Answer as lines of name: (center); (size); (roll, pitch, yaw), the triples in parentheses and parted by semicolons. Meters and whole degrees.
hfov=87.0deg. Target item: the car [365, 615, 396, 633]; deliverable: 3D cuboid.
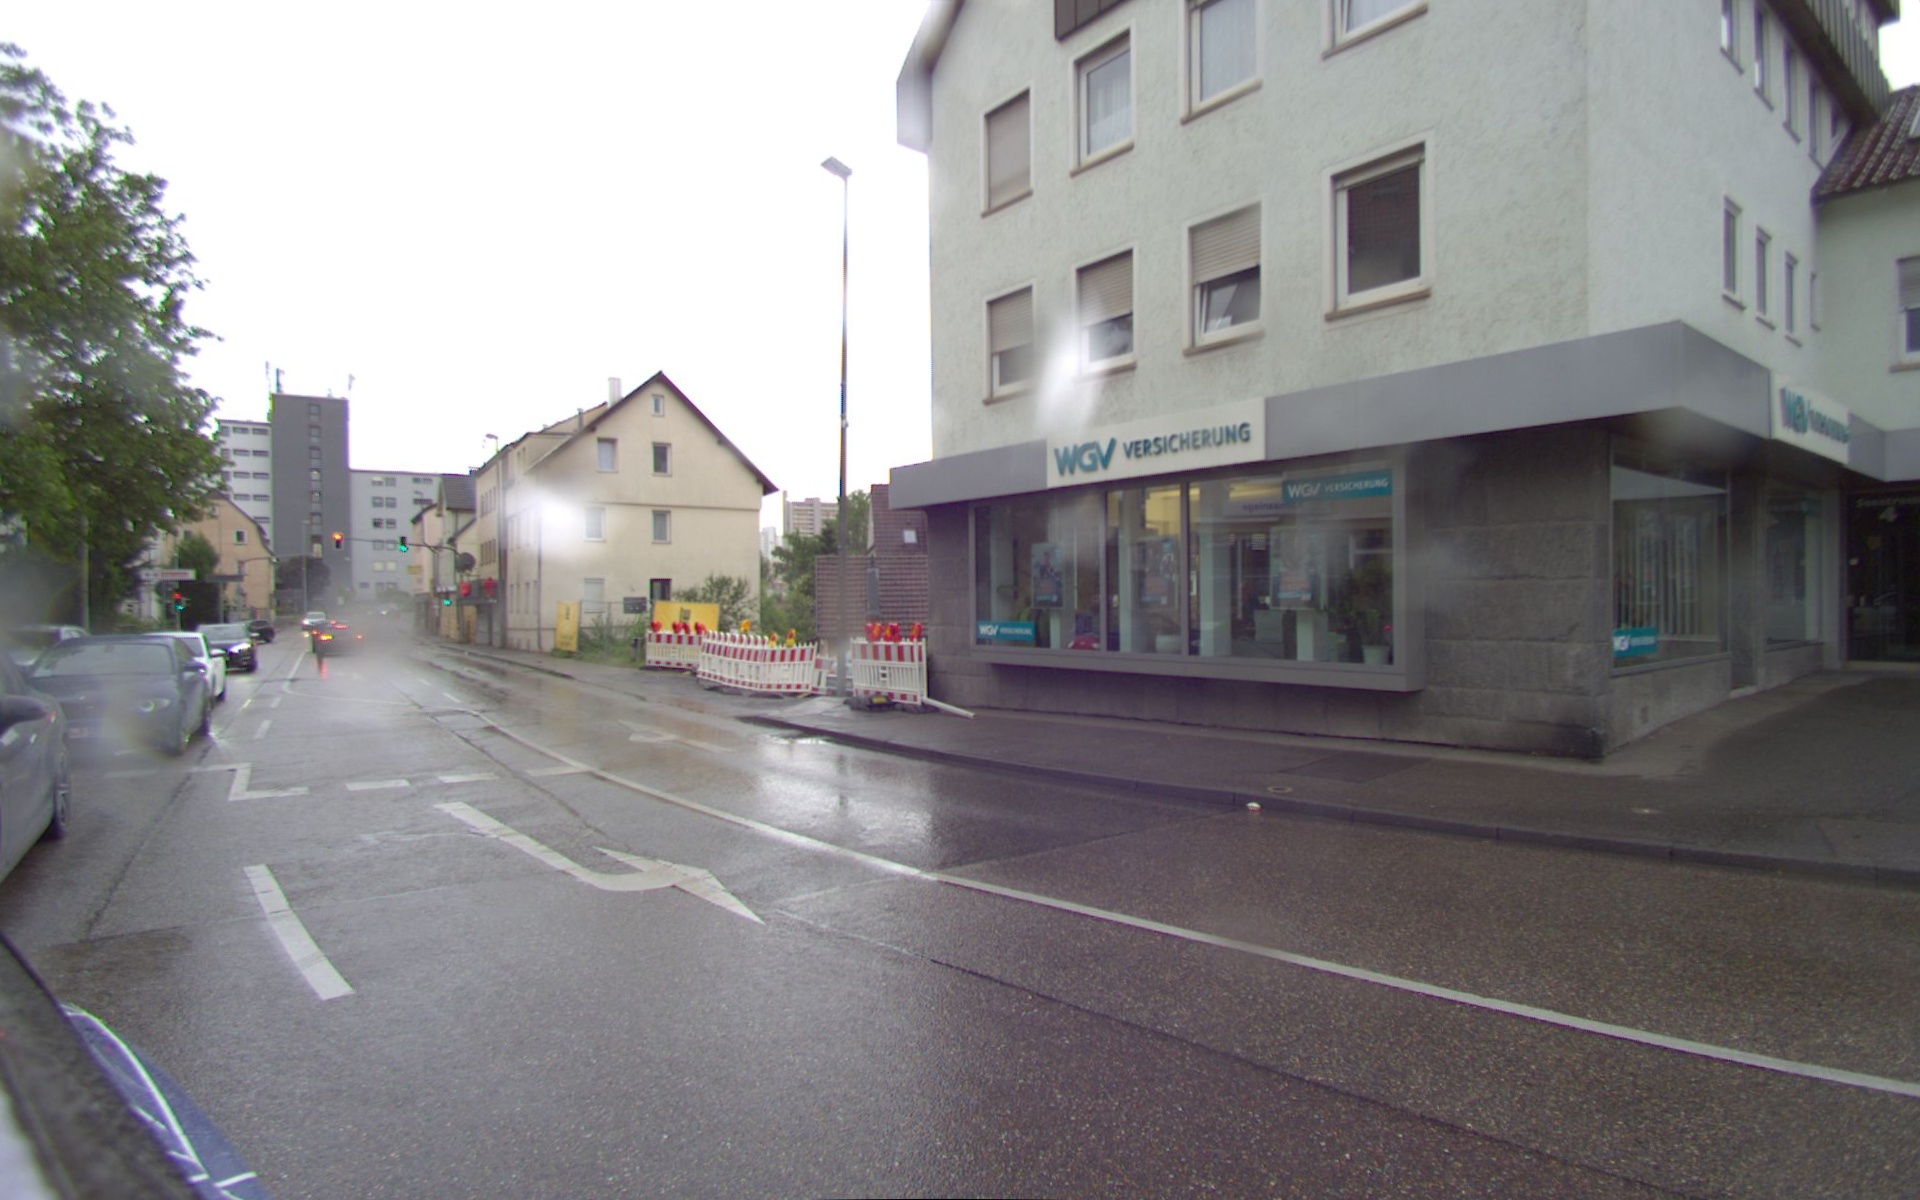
car: (-62.960, 2.569, 110.038); (1.765, 1.866, 3.844); (-1, -1, -12)

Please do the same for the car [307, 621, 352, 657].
car: (-31.996, 1.969, 51.276); (1.791, 1.657, 4.287); (-1, -1, -34)

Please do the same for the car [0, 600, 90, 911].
car: (-5.972, 0.824, 5.154); (1.791, 1.583, 4.287); (-1, -1, -34)

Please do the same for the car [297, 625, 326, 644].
car: (-55.880, 2.946, 87.243); (1.589, 1.515, 3.730); (-2, 0, -24)

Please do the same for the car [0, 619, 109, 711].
car: (-20.079, 1.337, 21.771); (1.904, 1.794, 4.748); (0, -2, -30)

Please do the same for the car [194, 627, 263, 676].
car: (-24.287, 1.673, 33.710); (1.659, 1.472, 4.011); (-1, -1, -33)

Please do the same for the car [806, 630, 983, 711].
car: (-1.345, 1.558, 21.745); (3.456, 1.401, 1.653); (10, -9, -41)

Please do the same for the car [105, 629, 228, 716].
car: (-15.260, 1.319, 19.632); (1.660, 1.432, 4.010); (-1, -1, -35)

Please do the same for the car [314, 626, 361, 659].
car: (-28.293, 1.901, 45.943); (1.684, 1.394, 3.679); (-1, -1, -33)

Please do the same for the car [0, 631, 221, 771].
car: (-10.300, 1.109, 12.528); (1.615, 1.443, 3.816); (1, -2, -33)
